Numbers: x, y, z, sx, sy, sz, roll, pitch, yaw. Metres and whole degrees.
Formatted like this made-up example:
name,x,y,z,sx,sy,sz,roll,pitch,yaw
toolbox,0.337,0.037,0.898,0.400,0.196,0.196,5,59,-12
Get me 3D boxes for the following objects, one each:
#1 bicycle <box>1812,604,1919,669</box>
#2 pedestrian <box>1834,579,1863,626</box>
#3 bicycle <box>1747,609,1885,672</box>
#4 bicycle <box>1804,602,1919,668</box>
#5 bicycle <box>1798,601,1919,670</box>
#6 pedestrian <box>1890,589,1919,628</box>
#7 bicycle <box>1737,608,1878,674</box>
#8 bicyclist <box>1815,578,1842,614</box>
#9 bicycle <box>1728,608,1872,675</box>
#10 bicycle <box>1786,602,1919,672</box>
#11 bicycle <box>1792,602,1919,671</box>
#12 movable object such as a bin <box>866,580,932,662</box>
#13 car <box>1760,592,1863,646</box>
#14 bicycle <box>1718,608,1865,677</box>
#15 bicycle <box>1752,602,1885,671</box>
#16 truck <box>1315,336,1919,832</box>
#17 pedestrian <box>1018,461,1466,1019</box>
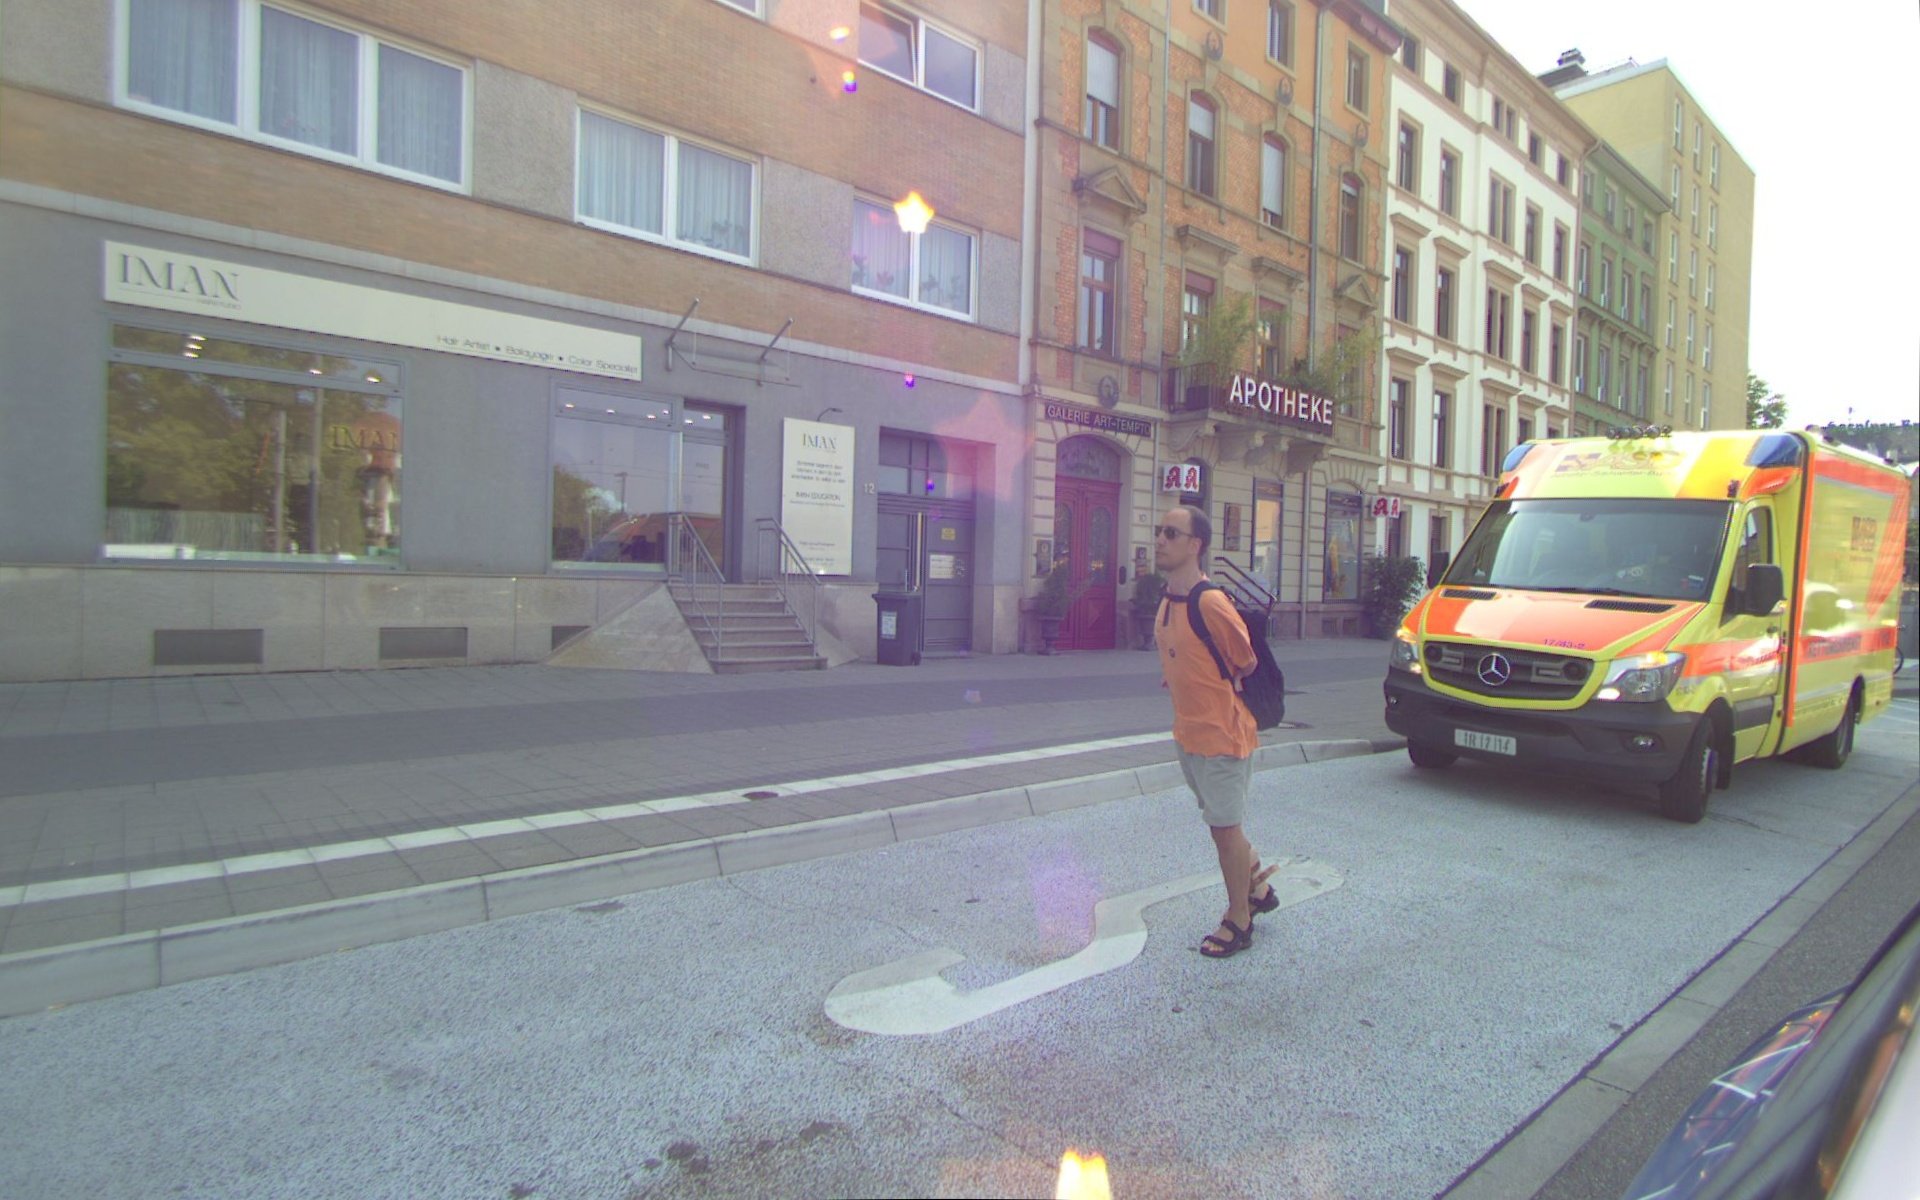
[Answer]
name,x,y,z,sx,sy,sz,roll,pitch,yaw
bicycle,18.119,0.692,20.028,0.626,1.219,1.841,1,0,-39
pedestrian,31.848,0.091,36.271,0.783,1.648,0.645,1,2,-43
bicycle,15.586,0.710,18.461,0.645,1.070,1.841,1,0,-40
bicycle,17.641,0.663,19.681,0.427,1.219,1.841,1,0,-40
bicycle,17.274,0.653,19.387,0.427,1.235,1.841,1,0,-40
pedestrian,40.947,0.351,43.853,0.780,1.648,0.647,1,2,-22
bicycle,15.063,0.704,18.030,0.645,1.074,1.841,1,0,-40
bicyclist,39.374,-0.179,45.871,1.083,1.606,0.721,1,1,-40
bicycle,14.569,0.692,17.599,0.645,1.066,1.841,1,0,-40
bicycle,16.593,0.661,18.826,0.427,1.219,1.841,1,0,-40
bicycle,16.929,0.657,19.094,0.427,1.219,1.841,1,0,-40
movable object such as a bin,-0.869,0.283,14.543,0.640,1.118,0.723,3,2,24
car,25.883,0.544,30.737,3.863,1.444,1.667,0,4,-40
bicycle,14.050,0.687,17.151,0.645,1.074,1.841,1,0,-40
bicycle,16.006,0.653,18.907,0.539,1.219,1.841,1,0,-40
truck,5.898,-0.160,8.545,6.221,2.803,2.336,0,4,-38
pedestrian,1.038,0.411,3.875,1.214,1.761,0.969,1,5,-29
